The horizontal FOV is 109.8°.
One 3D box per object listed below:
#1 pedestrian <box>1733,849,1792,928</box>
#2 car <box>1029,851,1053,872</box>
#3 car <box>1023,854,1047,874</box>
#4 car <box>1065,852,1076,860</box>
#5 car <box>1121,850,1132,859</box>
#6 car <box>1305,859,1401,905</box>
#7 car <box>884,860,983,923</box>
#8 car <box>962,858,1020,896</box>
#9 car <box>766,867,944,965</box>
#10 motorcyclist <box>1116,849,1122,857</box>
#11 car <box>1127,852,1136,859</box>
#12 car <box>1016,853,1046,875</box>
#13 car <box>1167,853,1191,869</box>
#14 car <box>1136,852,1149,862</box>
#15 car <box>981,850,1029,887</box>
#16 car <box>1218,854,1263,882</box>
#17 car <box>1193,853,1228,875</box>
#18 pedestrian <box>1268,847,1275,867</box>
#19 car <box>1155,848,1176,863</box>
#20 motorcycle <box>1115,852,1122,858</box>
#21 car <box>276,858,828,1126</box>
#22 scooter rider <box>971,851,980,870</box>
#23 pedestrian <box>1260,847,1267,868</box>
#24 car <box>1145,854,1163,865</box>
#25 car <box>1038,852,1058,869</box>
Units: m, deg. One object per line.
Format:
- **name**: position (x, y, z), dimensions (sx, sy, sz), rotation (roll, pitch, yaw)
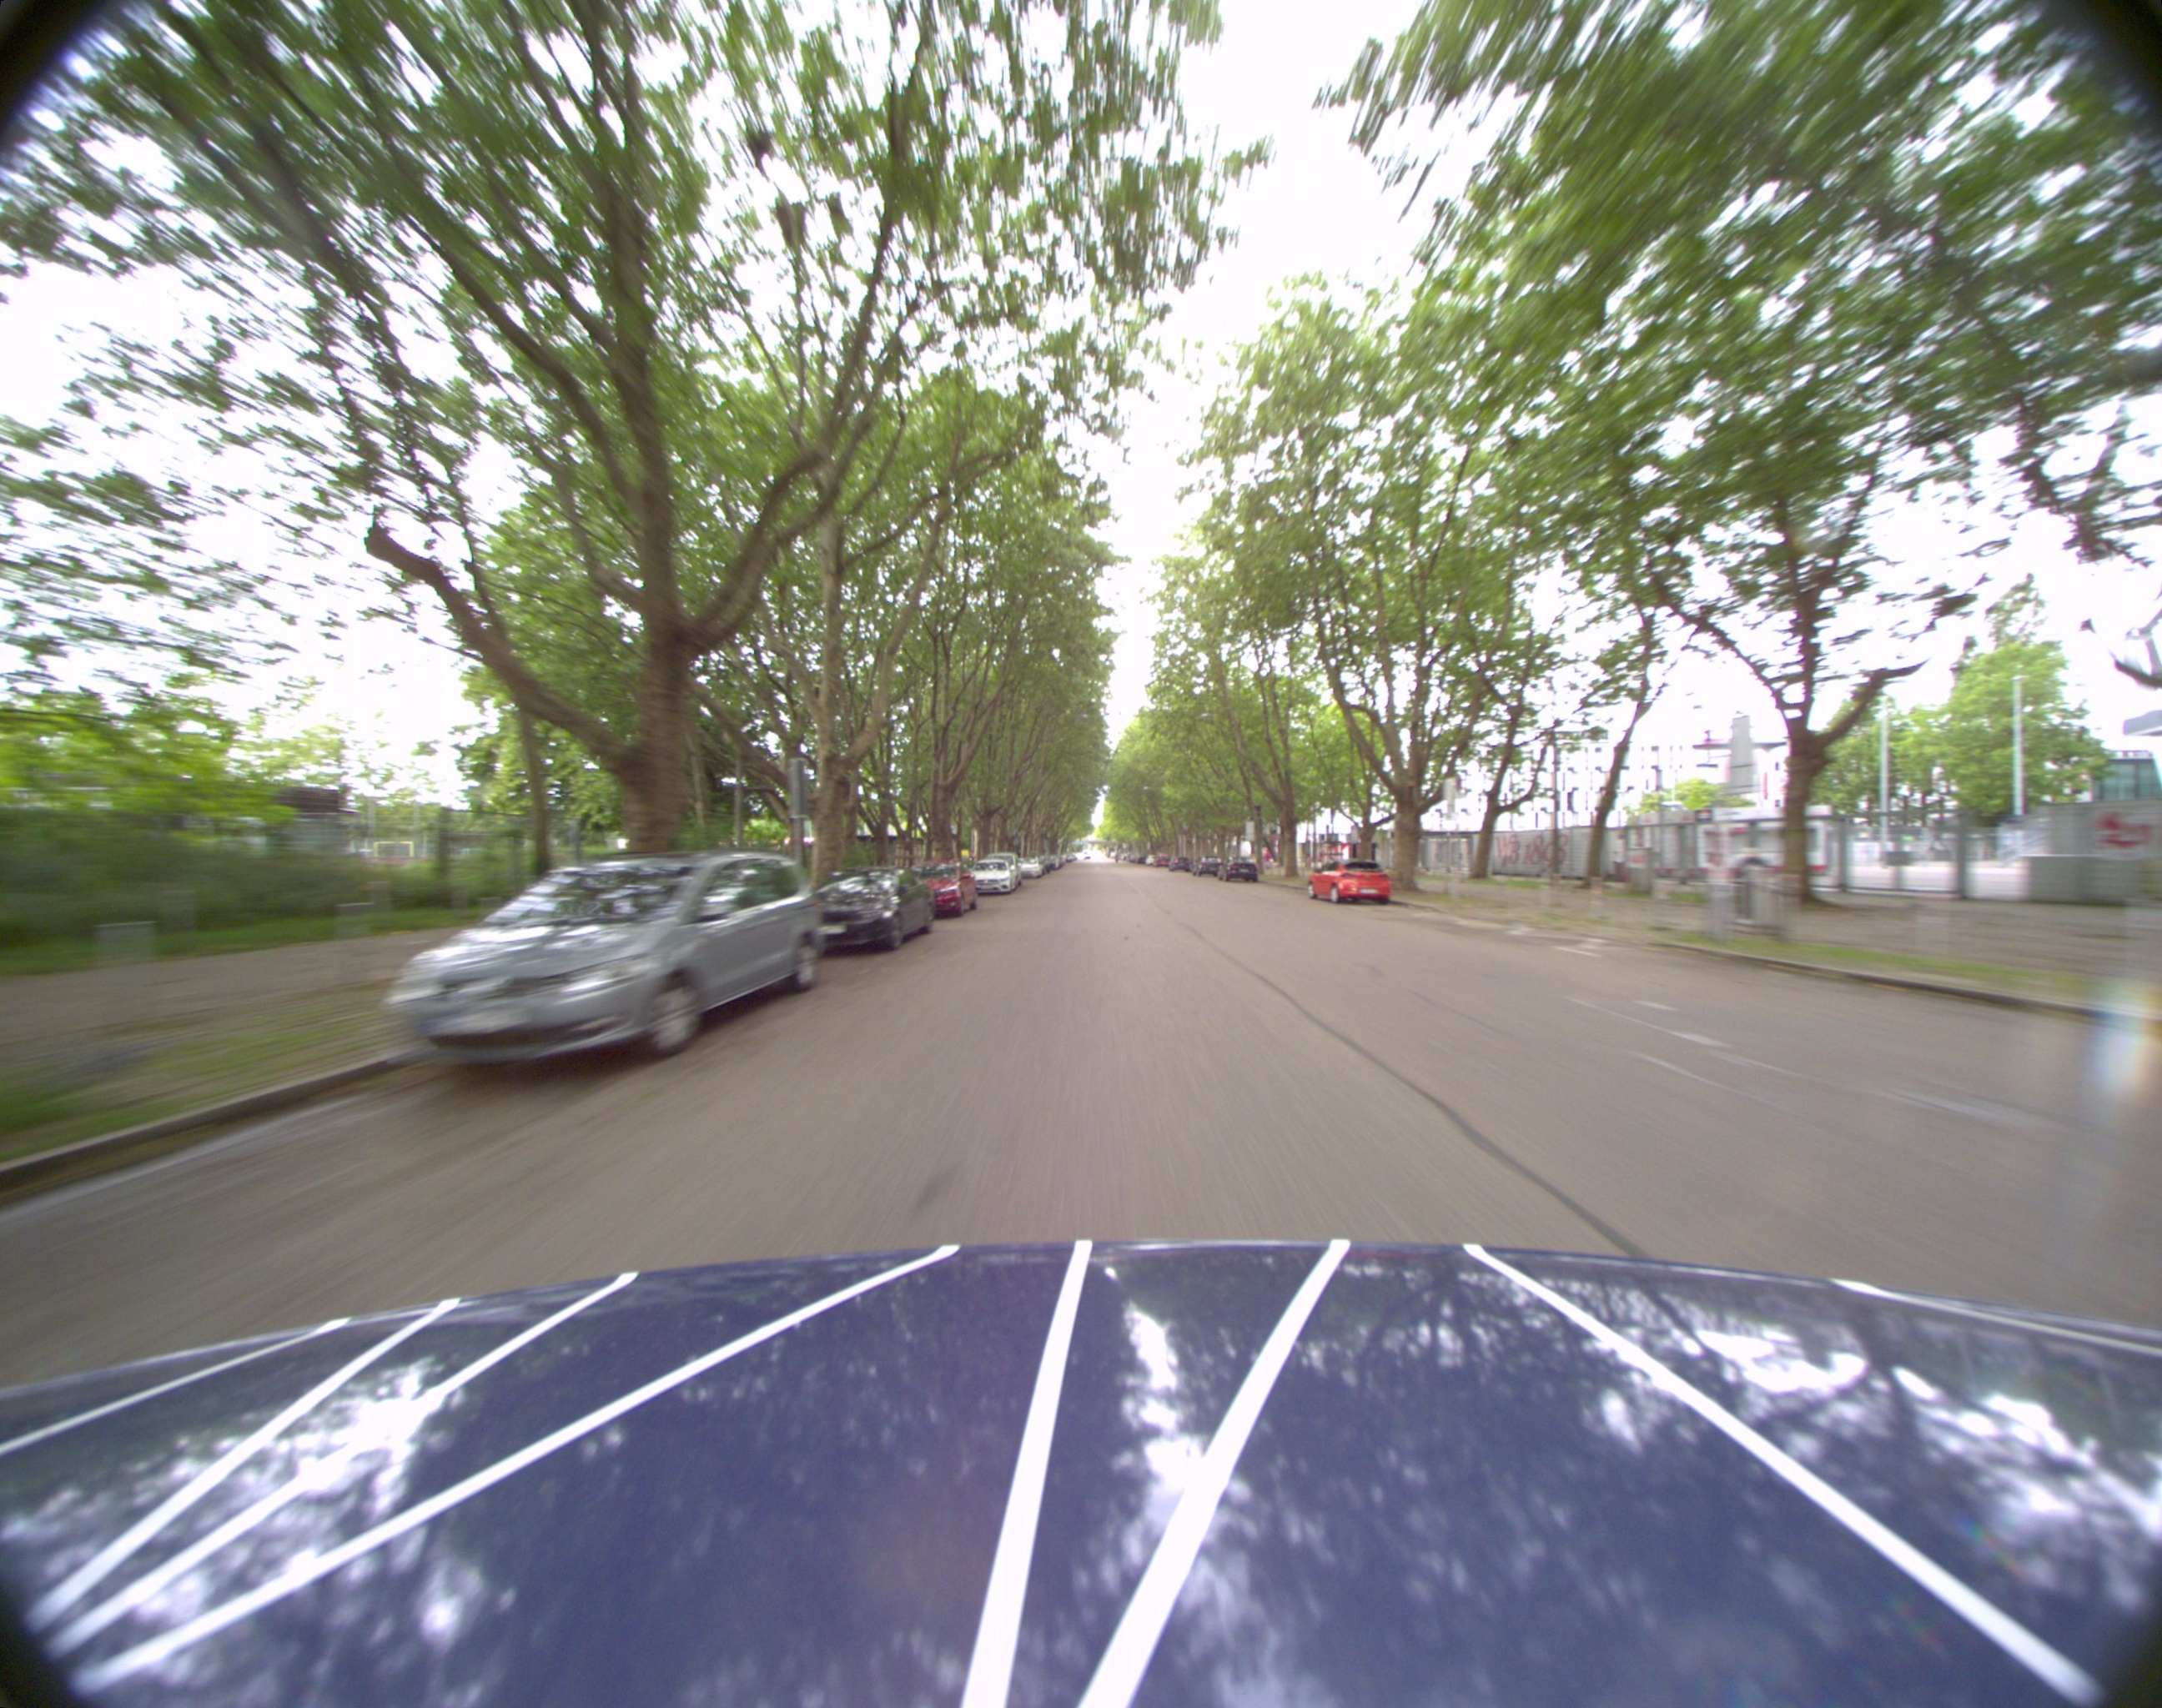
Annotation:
- **pedestrian**: position (14.258, 0.709, 15.922), dimensions (0.593, 1.611, 0.792), rotation (-1, 1, 10)
- **car**: position (-3.358, 0.594, 64.412), dimensions (1.712, 1.688, 4.630), rotation (-2, 0, -1)
- **car**: position (-3.520, 0.755, 58.666), dimensions (1.712, 1.407, 4.360), rotation (-1, 0, -2)
- **car**: position (-1.902, 0.316, 142.121), dimensions (1.998, 1.469, 4.371), rotation (-2, 0, 1)
- **car**: position (9.351, 0.075, 157.006), dimensions (1.900, 1.785, 4.612), rotation (3, 0, 0)
- **car**: position (8.878, 0.865, 25.179), dimensions (1.813, 1.346, 4.000), rotation (0, 0, 1)
- **car**: position (-3.953, 0.957, 21.066), dimensions (1.861, 1.473, 4.177), rotation (-1, 0, 0)
- **car**: position (-3.707, 0.920, 32.072), dimensions (1.882, 1.419, 4.585), rotation (-1, 0, 0)
- **car**: position (-3.953, 1.016, 14.170), dimensions (1.881, 1.419, 4.479), rotation (-1, 0, 1)
- **motorcyclist**: position (6.551, -0.168, 131.872), dimensions (0.872, 1.471, 1.265), rotation (0, 1, -3)
- **car**: position (11.368, 0.344, 172.327), dimensions (1.822, 1.584, 4.345), rotation (3, 0, 3)
- **car**: position (-3.373, 0.655, 51.696), dimensions (1.711, 1.419, 3.889), rotation (-2, 0, 1)
- **car**: position (9.313, 0.678, 72.407), dimensions (1.729, 1.477, 4.574), rotation (0, 0, 1)
- **car**: position (9.847, 0.551, 122.263), dimensions (1.838, 1.486, 4.442), rotation (3, 0, 1)
- **car**: position (-3.740, 0.655, 38.184), dimensions (1.907, 1.728, 4.506), rotation (-1, 0, 1)
- **car**: position (9.065, 0.742, 43.481), dimensions (1.831, 1.457, 4.628), rotation (1, 0, 3)
- **car**: position (9.256, 0.671, 54.706), dimensions (1.882, 1.518, 4.151), rotation (1, 0, 1)
- **pedestrian**: position (16.129, 0.255, 64.431), dimensions (0.575, 1.732, 0.768), rotation (0, 1, 15)
- **car**: position (9.982, 0.168, 90.289), dimensions (1.954, 1.740, 4.638), rotation (1, 0, 0)
- **motorcycle**: position (6.555, 0.178, 132.033), dimensions (0.875, 1.073, 3.052), rotation (0, 0, -3)
- **car**: position (-4.247, 0.917, 7.345), dimensions (1.986, 1.670, 4.730), rotation (-1, 1, 0)
- **scooter rider**: position (-9.929, 0.586, 71.429), dimensions (0.678, 1.789, 0.587), rotation (2, 1, 1)
- **pedestrian**: position (15.519, 0.287, 64.651), dimensions (0.577, 1.759, 0.768), rotation (0, 1, 15)
- **car**: position (9.970, 0.722, 104.231), dimensions (1.908, 1.394, 4.751), rotation (3, 0, 1)
- **car**: position (-3.316, 0.623, 77.234), dimensions (1.782, 1.663, 4.637), rotation (-1, 0, 0)
